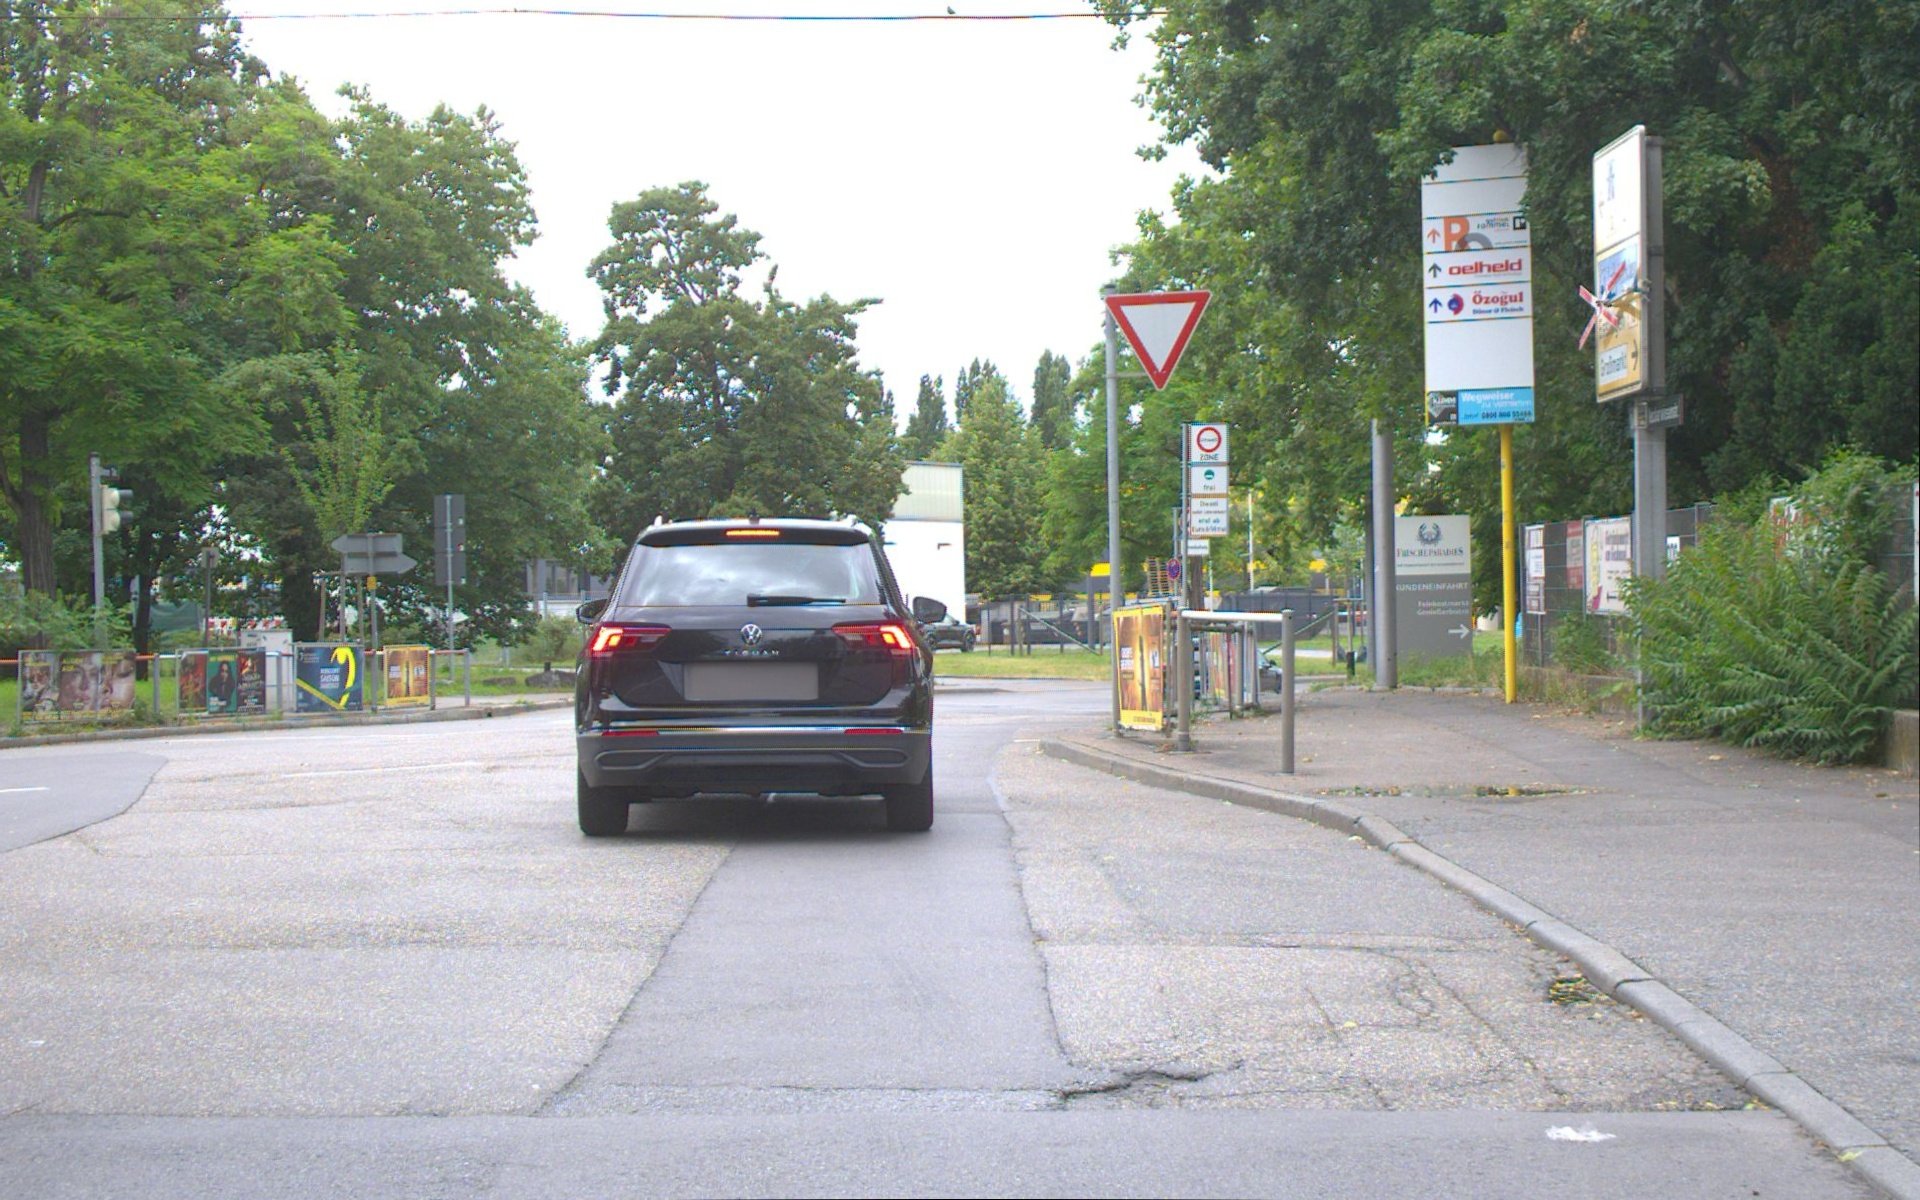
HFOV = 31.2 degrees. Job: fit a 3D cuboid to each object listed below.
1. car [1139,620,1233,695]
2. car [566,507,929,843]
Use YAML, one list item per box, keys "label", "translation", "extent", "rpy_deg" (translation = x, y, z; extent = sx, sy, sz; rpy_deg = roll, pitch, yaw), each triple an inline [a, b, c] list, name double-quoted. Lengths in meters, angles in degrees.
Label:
- label: "car"
  translation: [5.152, 1.280, 78.007]
  extent: [1.659, 1.569, 3.827]
  rpy_deg: [-2, 0, 10]
- label: "car"
  translation: [-1.116, 0.356, 18.406]
  extent: [1.739, 1.612, 3.641]
  rpy_deg: [0, 0, -3]
